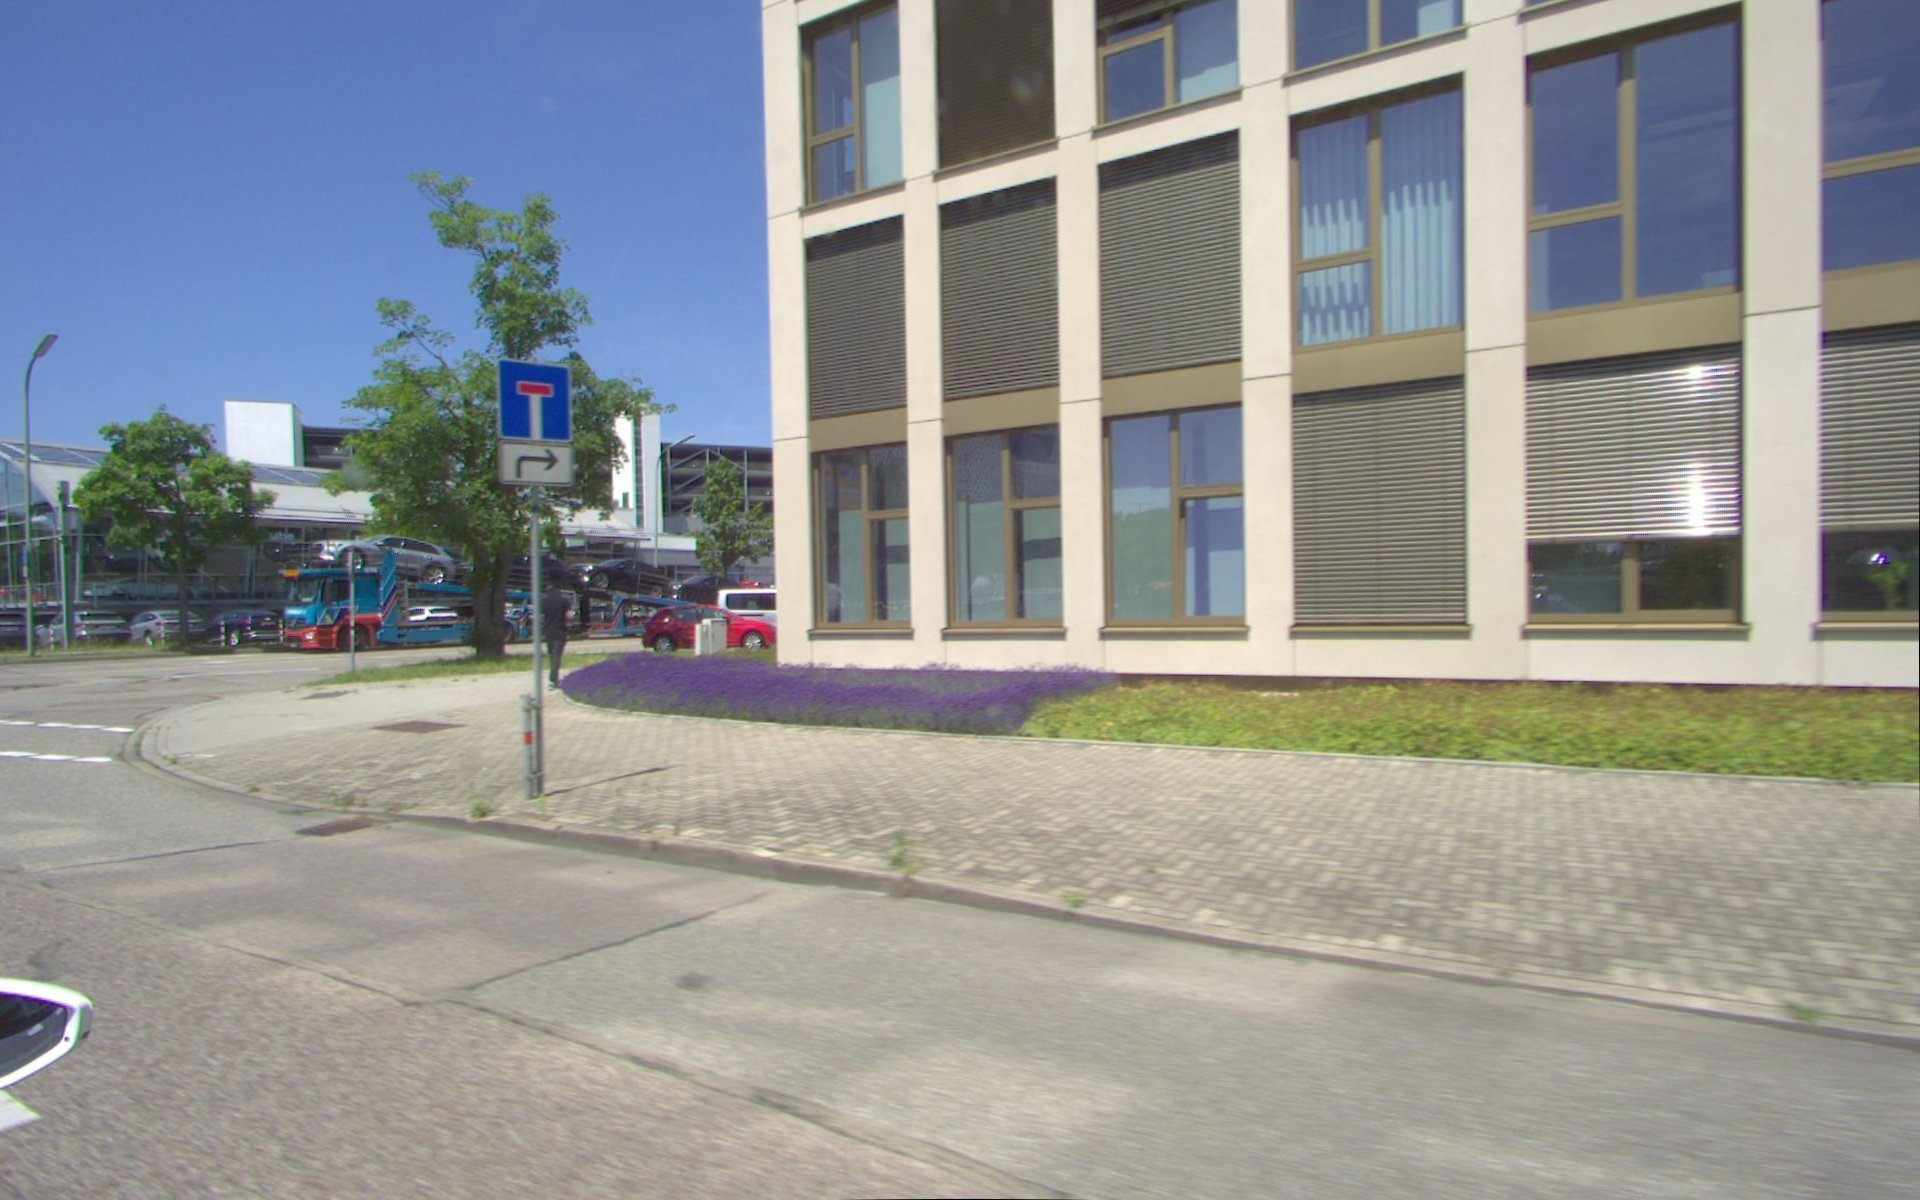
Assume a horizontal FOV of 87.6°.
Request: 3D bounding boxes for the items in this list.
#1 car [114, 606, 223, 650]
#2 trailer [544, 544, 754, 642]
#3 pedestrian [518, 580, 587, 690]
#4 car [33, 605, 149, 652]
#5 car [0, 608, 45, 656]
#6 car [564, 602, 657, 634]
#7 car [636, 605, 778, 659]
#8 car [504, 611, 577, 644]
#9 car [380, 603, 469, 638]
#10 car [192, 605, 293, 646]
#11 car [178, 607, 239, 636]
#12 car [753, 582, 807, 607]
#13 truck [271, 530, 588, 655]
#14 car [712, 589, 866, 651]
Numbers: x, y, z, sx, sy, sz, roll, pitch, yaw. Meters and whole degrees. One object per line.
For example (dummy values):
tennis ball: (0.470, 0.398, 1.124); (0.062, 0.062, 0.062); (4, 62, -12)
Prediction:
car: (-31.966, 1.090, 40.427); (4.456, 1.662, 1.882); (0, 1, 30)
trailer: (-14.260, -0.302, 47.000); (3.052, 4.136, 9.585); (0, 0, 34)
pedestrian: (-7.148, 0.593, 17.585); (0.758, 1.870, 0.868); (-2, 2, 2)
car: (-33.270, 1.051, 38.310); (4.374, 1.662, 1.991); (0, 1, 30)
car: (-34.785, 1.117, 35.632); (4.488, 1.662, 1.991); (0, 1, 30)
car: (-19.997, 0.999, 57.388); (4.707, 1.662, 1.819); (-1, 1, -38)
car: (-7.404, 0.916, 29.580); (3.925, 1.454, 1.609); (-1, 0, -11)
car: (-24.556, 1.580, 58.603); (3.663, 1.801, 1.737); (-1, 0, -34)
car: (-26.852, 1.011, 50.194); (4.406, 1.662, 1.825); (0, 1, 30)
car: (-30.784, 1.056, 42.916); (4.406, 1.662, 1.825); (0, 1, 30)
car: (-56.030, 1.603, 74.687); (3.934, 2.040, 1.994); (-1, 0, 24)
car: (-15.505, -0.490, 86.311); (4.282, 2.040, 1.992); (-1, 0, 27)
truck: (-19.917, -0.262, 38.622); (3.058, 4.137, 10.588); (0, 0, 34)
car: (-5.608, 0.630, 32.821); (4.816, 1.840, 1.703); (-1, 0, -13)
